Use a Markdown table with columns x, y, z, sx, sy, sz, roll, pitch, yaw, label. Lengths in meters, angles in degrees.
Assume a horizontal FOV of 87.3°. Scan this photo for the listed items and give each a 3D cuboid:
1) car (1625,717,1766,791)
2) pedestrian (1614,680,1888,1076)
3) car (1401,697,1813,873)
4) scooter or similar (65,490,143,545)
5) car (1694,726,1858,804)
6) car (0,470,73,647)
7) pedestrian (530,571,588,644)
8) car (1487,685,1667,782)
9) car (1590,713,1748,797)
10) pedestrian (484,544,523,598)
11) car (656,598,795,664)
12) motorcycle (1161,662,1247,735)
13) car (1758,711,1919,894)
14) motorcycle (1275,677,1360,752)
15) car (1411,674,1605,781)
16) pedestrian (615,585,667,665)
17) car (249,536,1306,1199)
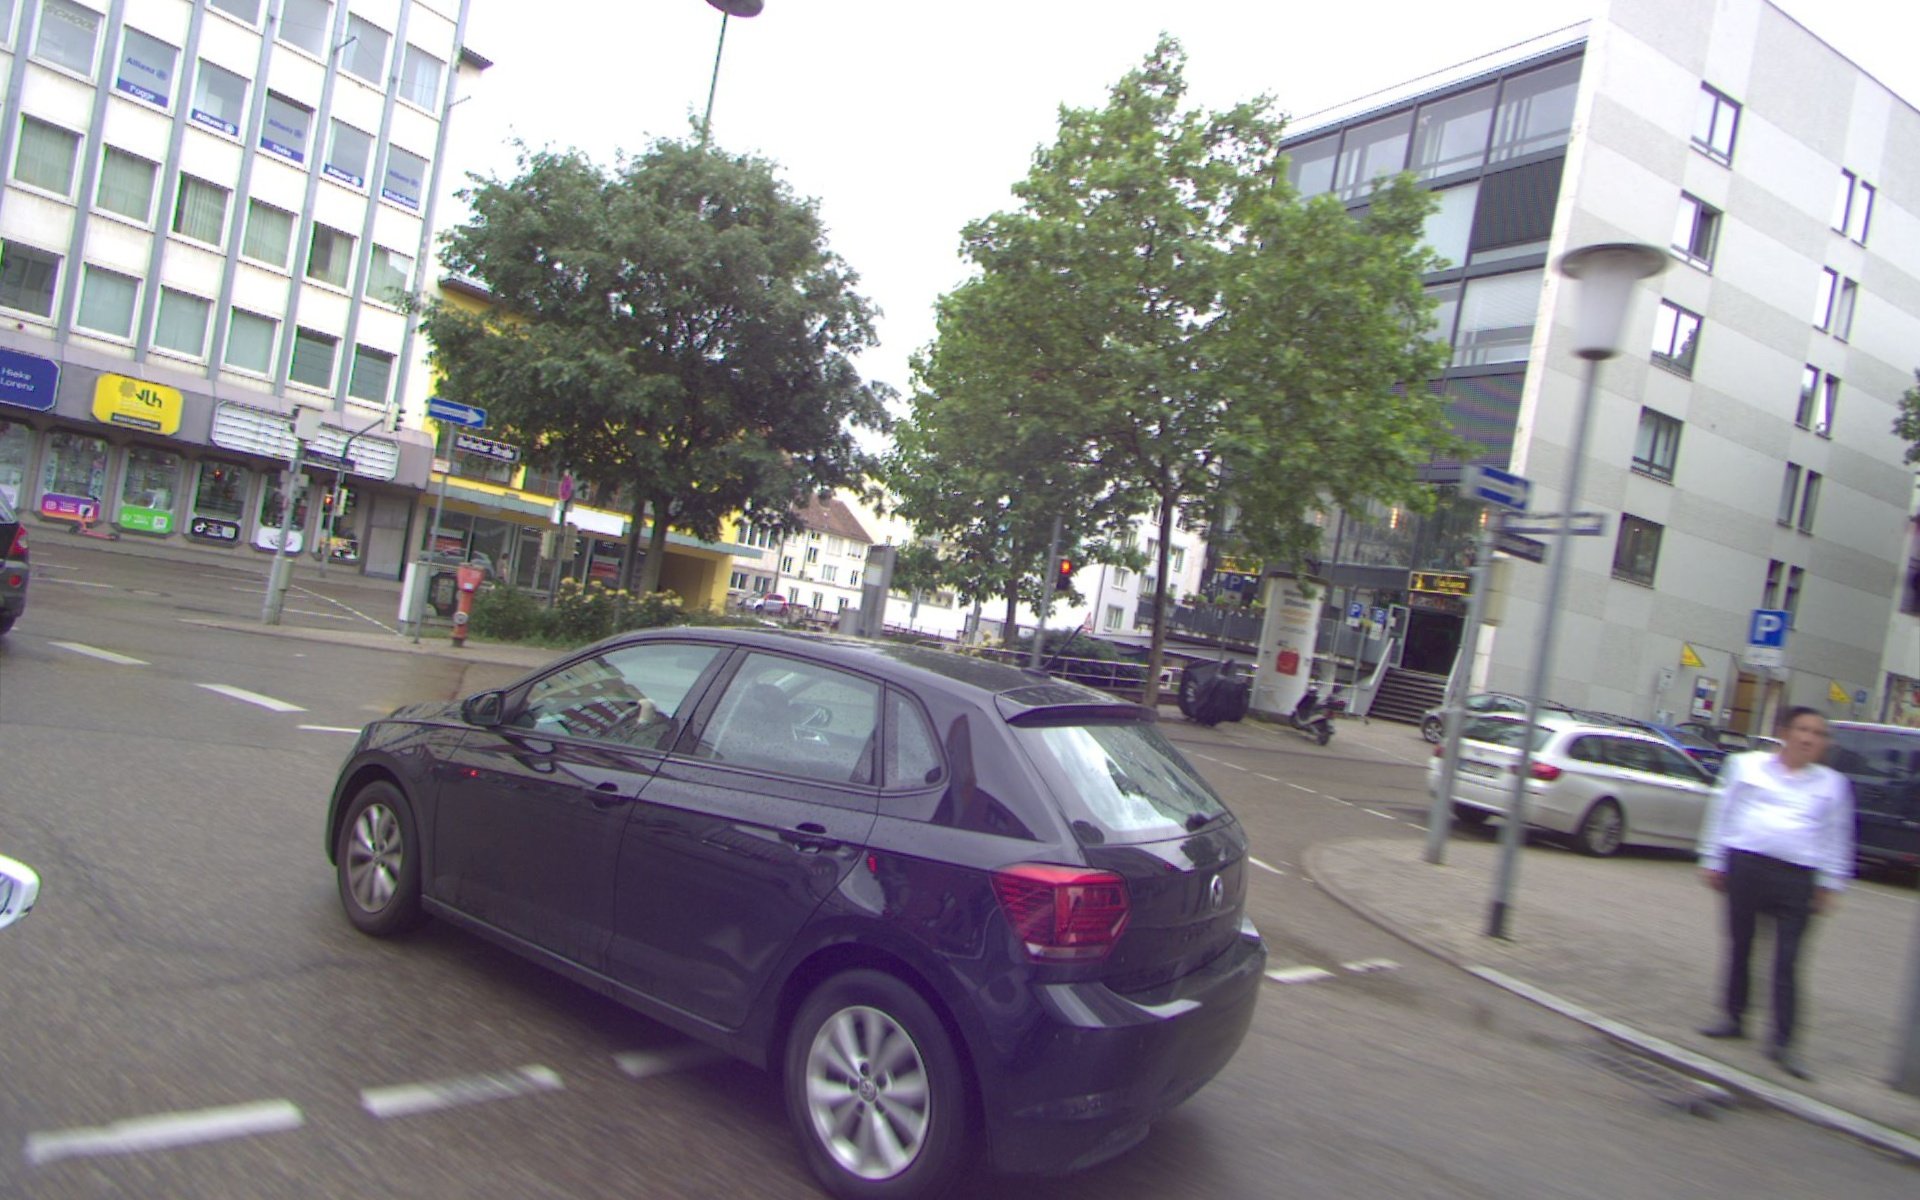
| x | y | z | sx | sy | sz | roll | pitch | yaw | label |
| --- | --- | --- | --- | --- | --- | --- | --- | --- | --- |
| 21.311 | 4.413 | 29.333 | 1.597 | 1.571 | 3.694 | 7 | -2 | 8 | car |
| 4.202 | 1.410 | 5.431 | 0.814 | 1.840 | 0.723 | 6 | 1 | 21 | pedestrian |
| 8.134 | 2.328 | 12.631 | 4.789 | 1.511 | 1.848 | 9 | -2 | -22 | car |
| -25.099 | -2.411 | 29.512 | 0.612 | 1.224 | 1.513 | 14 | 0 | 43 | scooter or similar |
| 23.511 | 4.716 | 29.168 | 1.598 | 1.571 | 3.691 | 7 | -2 | 0 | car |
| -11.582 | -0.719 | 10.403 | 4.425 | 1.715 | 1.904 | 8 | -1 | 25 | car |
| -11.206 | 0.209 | 28.131 | 0.875 | 1.846 | 0.827 | 9 | -3 | 23 | pedestrian |
| 15.480 | 3.305 | 25.491 | 1.600 | 1.574 | 3.832 | 8 | 2 | -9 | car |
| 18.400 | 3.982 | 26.327 | 1.597 | 1.571 | 3.693 | 7 | -2 | 5 | car |
| -17.267 | -1.071 | 38.060 | 0.666 | 1.844 | 0.894 | 7 | -5 | 10 | pedestrian |
| -7.942 | 1.089 | 34.329 | 1.803 | 1.429 | 4.188 | 13 | 1 | 41 | car |
| 5.015 | 2.010 | 20.828 | 0.620 | 1.131 | 1.931 | 9 | 2 | -19 | motorcycle |
| 13.531 | 2.868 | 14.047 | 4.754 | 2.021 | 1.947 | 9 | -1 | -29 | car |
| 7.396 | 2.351 | 20.952 | 0.618 | 1.131 | 2.086 | 8 | 3 | -8 | motorcycle |
| 13.053 | 2.989 | 24.253 | 1.604 | 1.656 | 3.918 | 9 | 2 | -17 | car |
| -7.814 | 0.620 | 24.653 | 0.668 | 1.844 | 0.715 | 3 | -6 | 33 | pedestrian |
| -0.921 | 0.765 | 4.024 | 3.935 | 1.494 | 1.691 | 7 | -2 | 33 | car |
